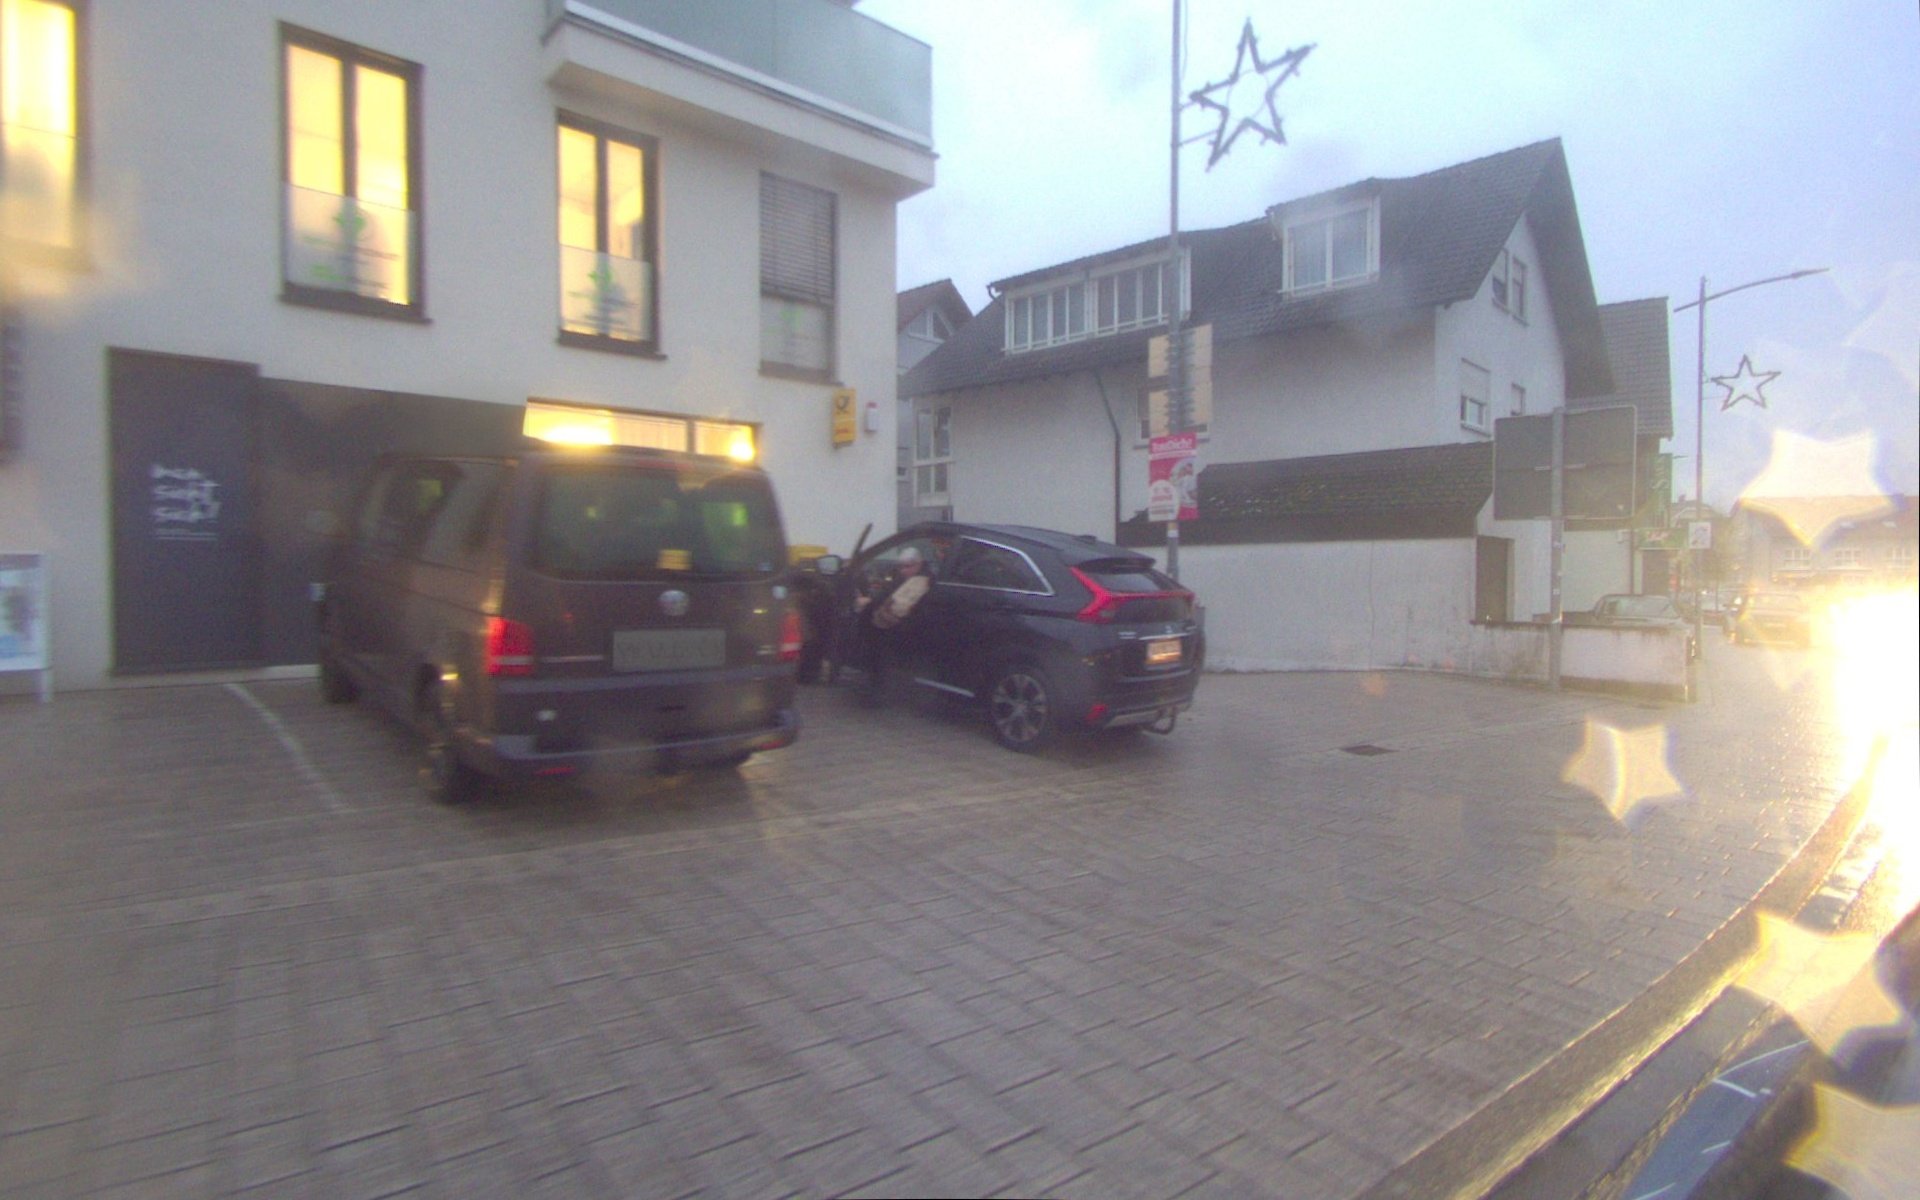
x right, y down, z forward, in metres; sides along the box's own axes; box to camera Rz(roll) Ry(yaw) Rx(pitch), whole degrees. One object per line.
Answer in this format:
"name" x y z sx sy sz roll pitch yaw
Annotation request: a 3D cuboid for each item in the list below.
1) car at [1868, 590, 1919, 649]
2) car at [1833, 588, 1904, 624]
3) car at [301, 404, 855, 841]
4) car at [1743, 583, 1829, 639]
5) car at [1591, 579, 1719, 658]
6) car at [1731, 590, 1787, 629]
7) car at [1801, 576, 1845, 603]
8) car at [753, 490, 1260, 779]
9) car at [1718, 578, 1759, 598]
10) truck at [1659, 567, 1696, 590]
"car" 25.939 0.496 27.548 1.564 1.487 3.566 -1 0 38
"car" 42.837 0.279 47.798 1.658 1.541 3.956 3 1 31
"car" -2.884 -0.096 6.855 1.941 1.957 4.549 1 5 -42
"car" 25.427 0.307 31.108 1.842 1.606 3.711 1 1 43
"car" 15.269 0.370 22.164 1.772 1.515 3.720 4 2 42
"car" 28.857 0.331 36.616 1.489 1.307 3.247 1 1 37
"car" 66.140 -0.801 77.601 1.985 2.039 3.955 0 1 32
"car" 0.218 0.095 8.857 4.139 1.653 1.729 11 7 40
"car" 59.008 -0.907 76.755 1.738 1.435 3.718 3 1 27
"truck" 68.296 -1.998 96.380 2.125 2.038 4.495 3 1 26
